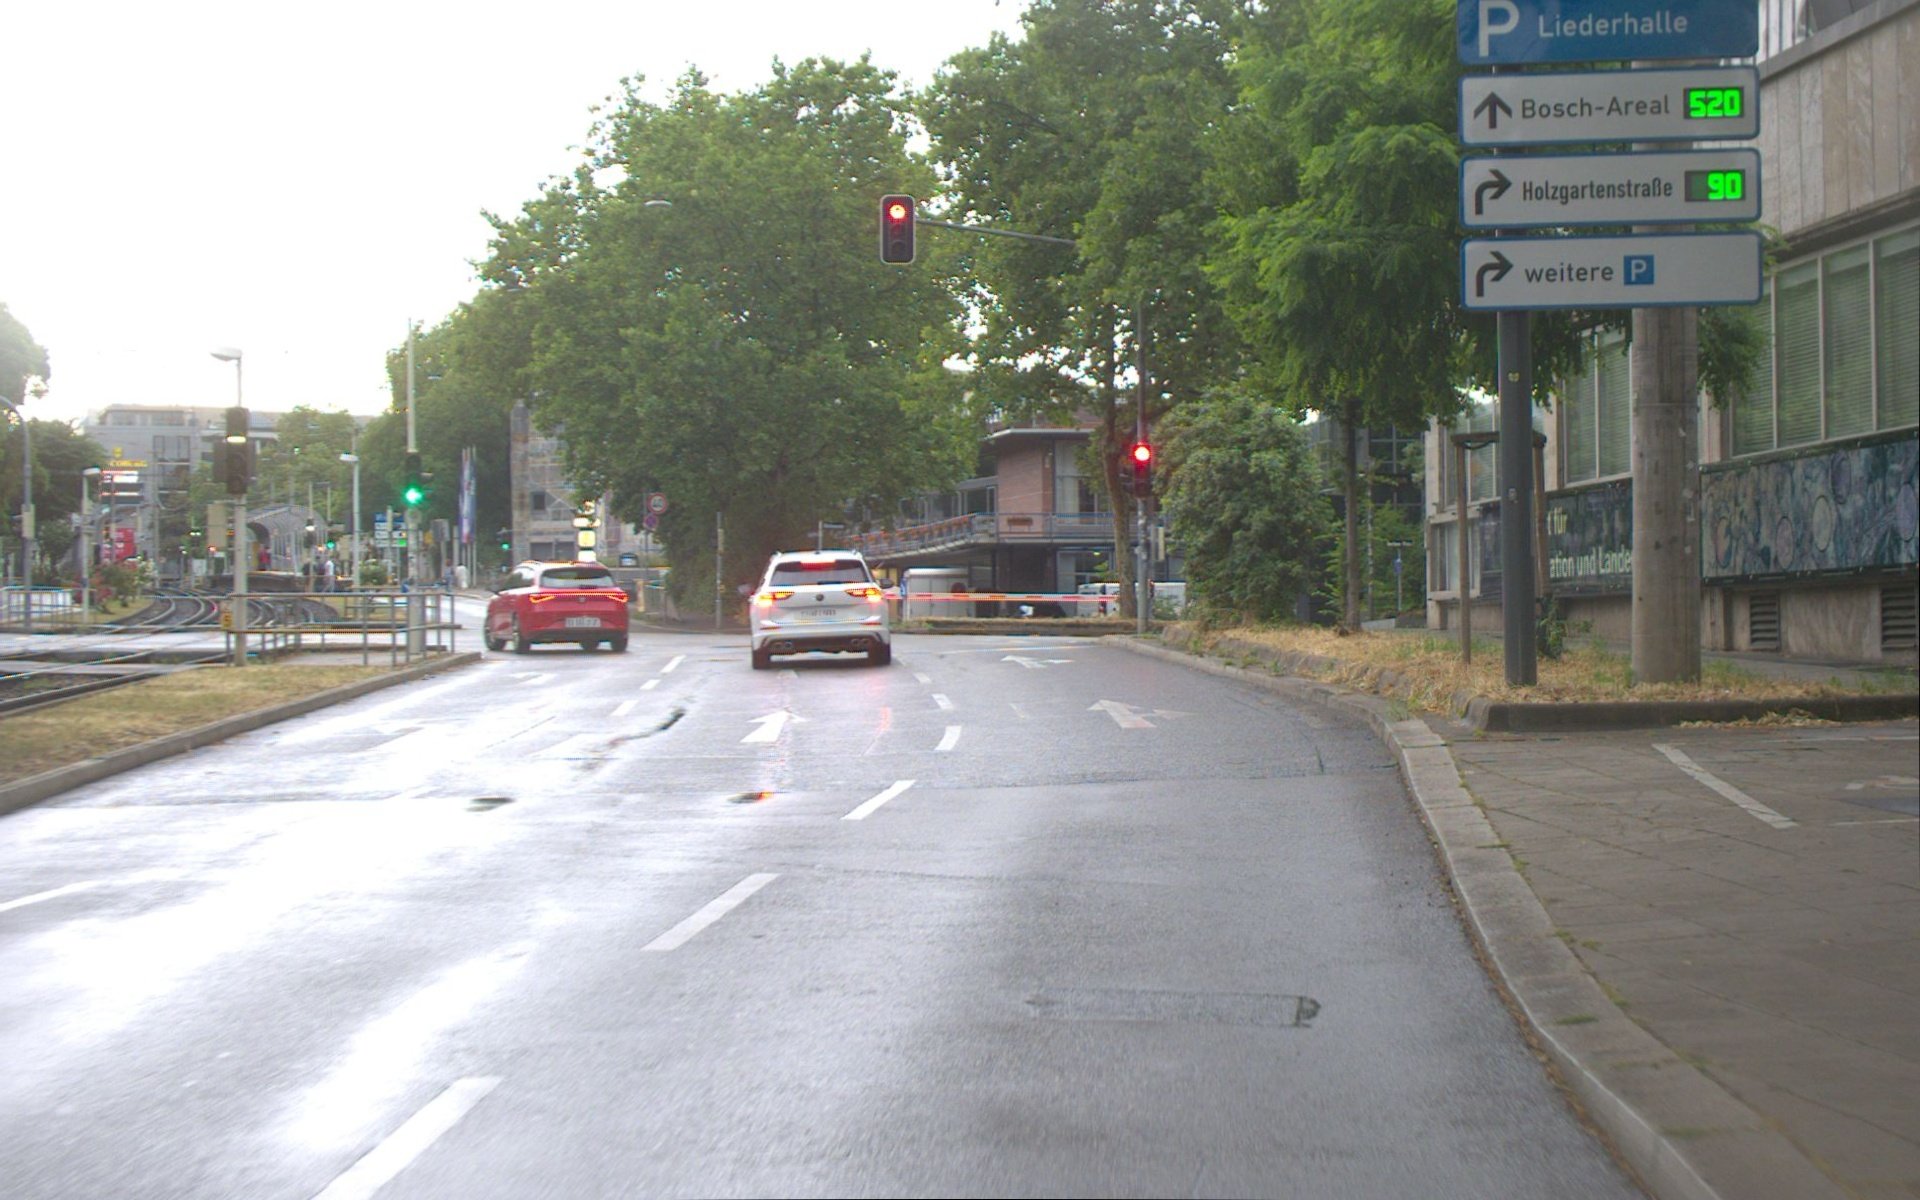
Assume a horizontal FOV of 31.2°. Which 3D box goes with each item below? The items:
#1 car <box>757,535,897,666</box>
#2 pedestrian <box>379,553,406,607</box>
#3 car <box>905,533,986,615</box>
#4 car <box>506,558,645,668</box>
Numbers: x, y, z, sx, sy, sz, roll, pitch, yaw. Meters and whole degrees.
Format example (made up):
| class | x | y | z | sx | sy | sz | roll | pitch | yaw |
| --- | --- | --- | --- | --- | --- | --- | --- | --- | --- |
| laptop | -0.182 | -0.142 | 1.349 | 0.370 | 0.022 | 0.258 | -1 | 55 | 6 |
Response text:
| class | x | y | z | sx | sy | sz | roll | pitch | yaw |
| --- | --- | --- | --- | --- | --- | --- | --- | --- | --- |
| car | -1.696 | -0.040 | 44.249 | 1.679 | 1.571 | 4.253 | -1 | 1 | -2 |
| pedestrian | -17.549 | -0.623 | 106.290 | 0.737 | 1.634 | 0.871 | 1 | 0 | -12 |
| car | -0.598 | -0.989 | 135.014 | 2.544 | 3.123 | 5.032 | 1 | 0 | -7 |
| car | -6.026 | 0.204 | 54.240 | 1.980 | 1.634 | 4.417 | 1 | 0 | -4 |
